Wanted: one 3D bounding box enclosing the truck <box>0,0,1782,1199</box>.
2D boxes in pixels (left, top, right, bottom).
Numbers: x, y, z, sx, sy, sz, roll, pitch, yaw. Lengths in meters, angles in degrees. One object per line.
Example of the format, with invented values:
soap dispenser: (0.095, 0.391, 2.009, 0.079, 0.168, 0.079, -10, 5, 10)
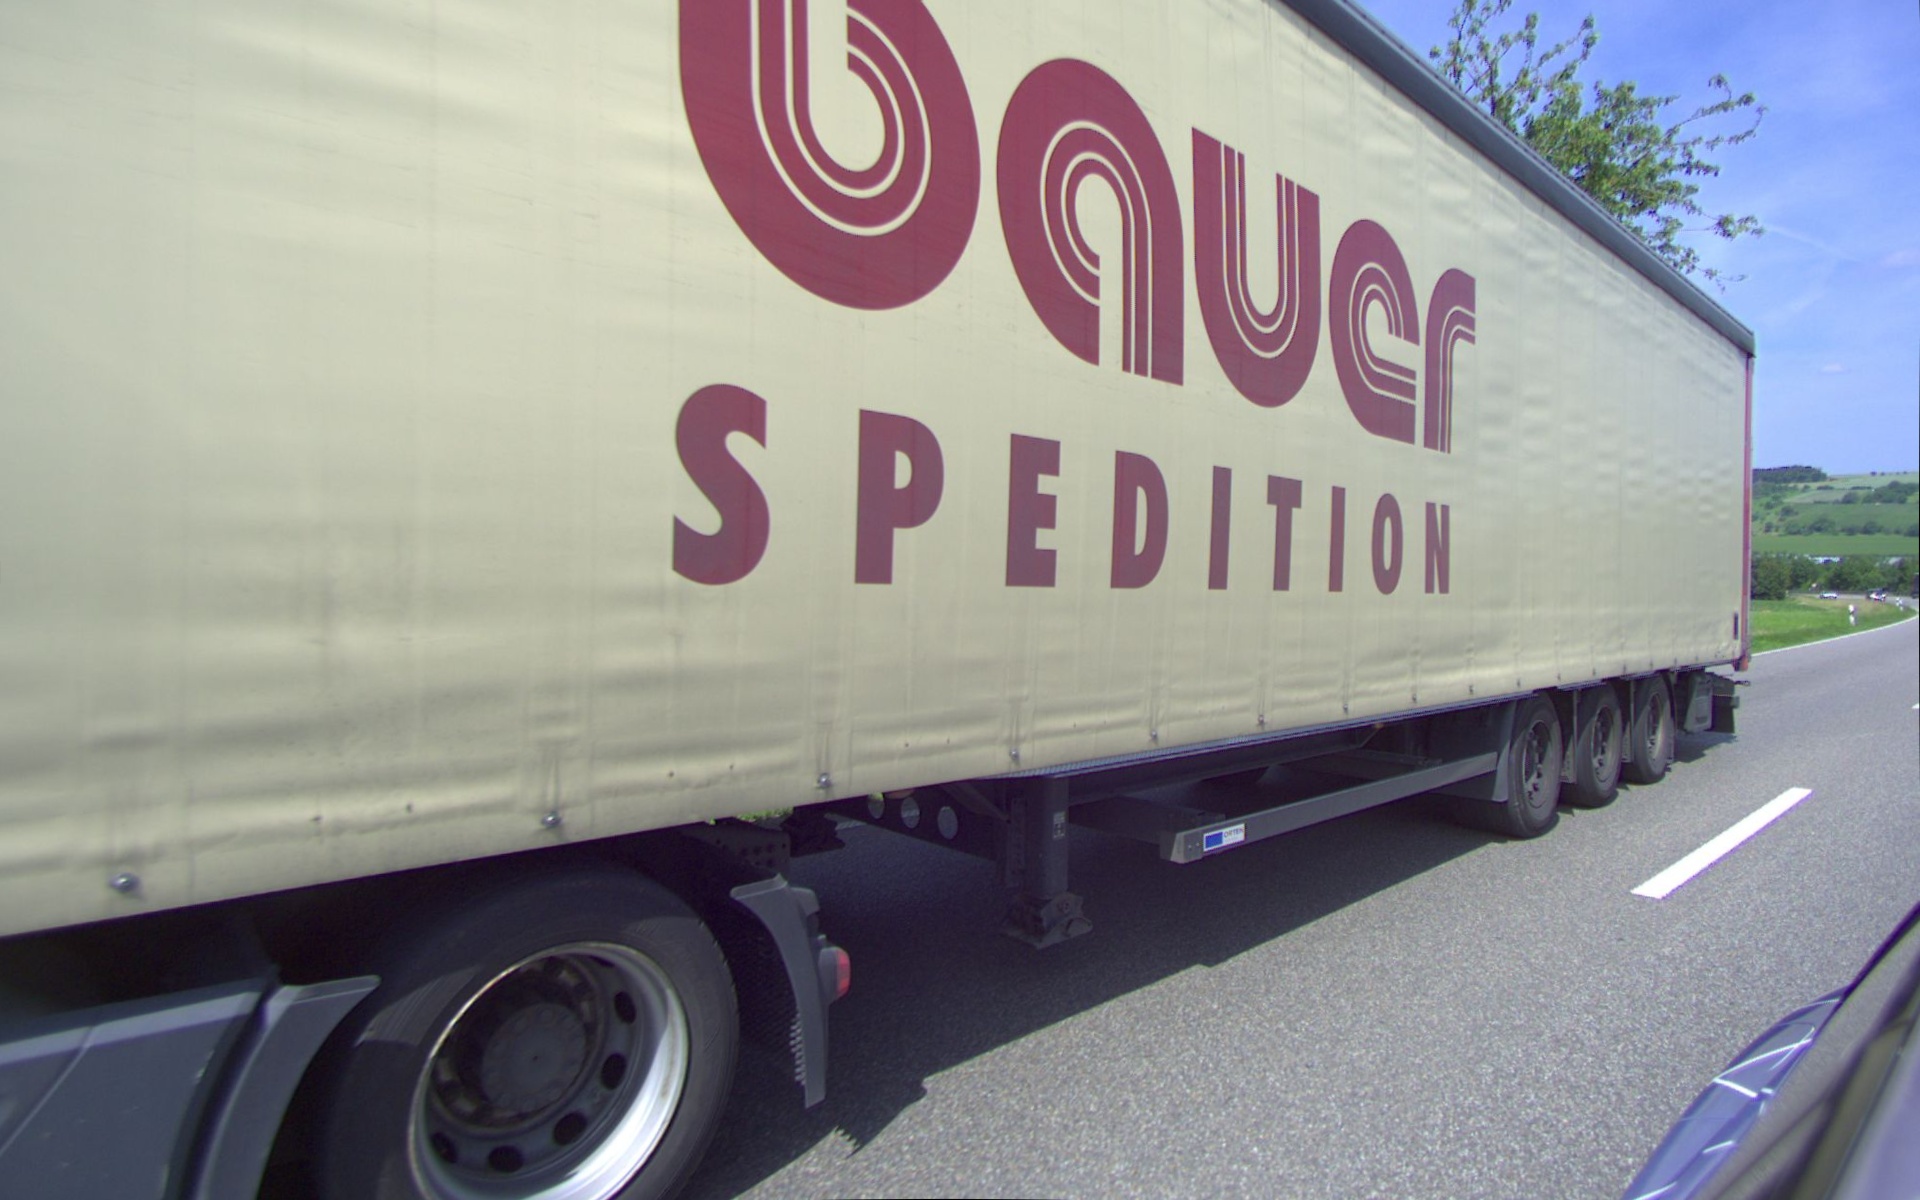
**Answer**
truck: (0.611, -0.721, 5.238, 16.424, 4.233, 3.011, -1, 0, -42)
